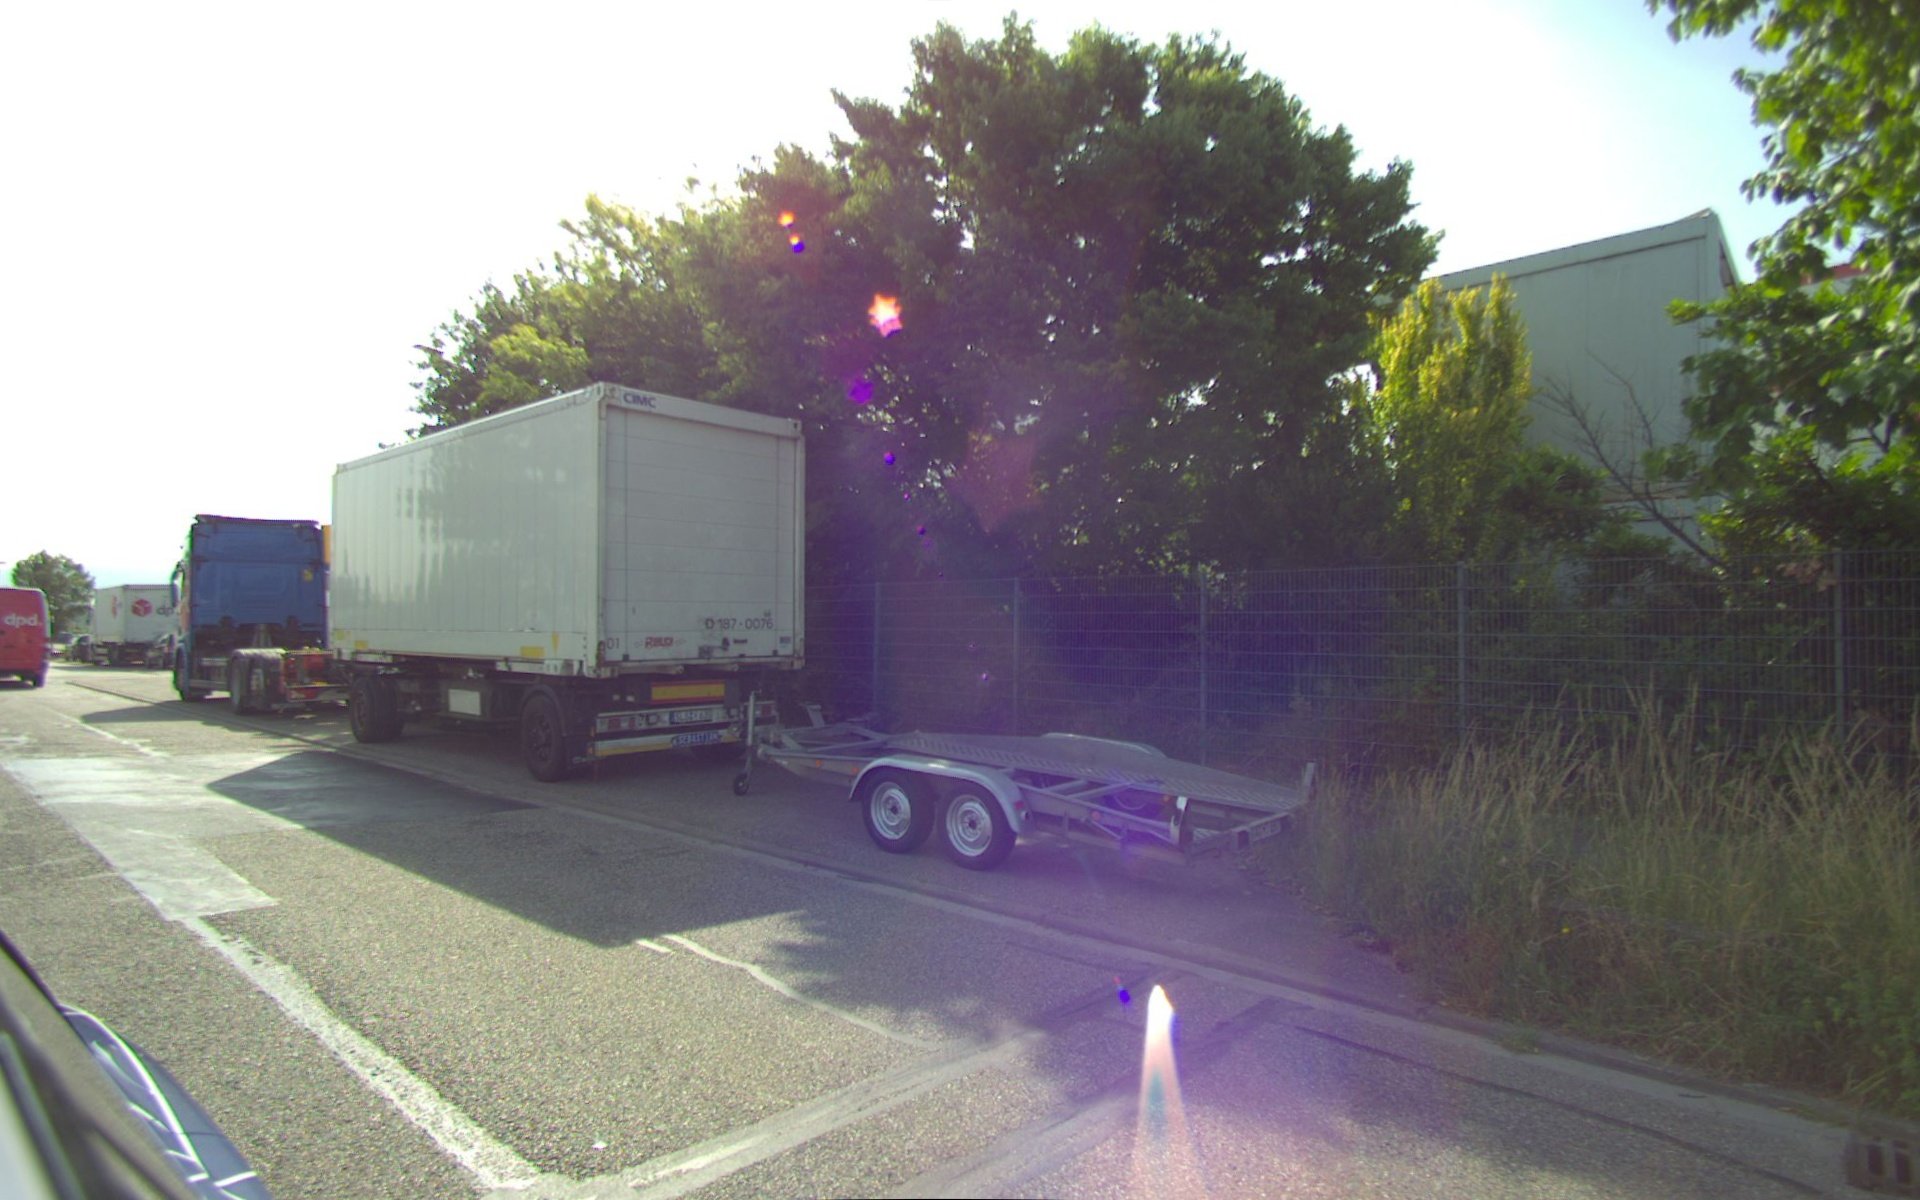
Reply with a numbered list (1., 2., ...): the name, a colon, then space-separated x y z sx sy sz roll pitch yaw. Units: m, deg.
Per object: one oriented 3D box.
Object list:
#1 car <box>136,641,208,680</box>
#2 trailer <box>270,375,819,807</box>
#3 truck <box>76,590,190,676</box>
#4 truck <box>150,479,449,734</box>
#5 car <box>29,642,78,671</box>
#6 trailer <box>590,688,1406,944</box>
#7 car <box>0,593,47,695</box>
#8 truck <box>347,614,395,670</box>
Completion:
1. car: -34.892 2.625 44.780 4.190 1.604 1.744 -2 -2 41
2. trailer: -6.087 0.024 13.396 9.760 3.914 2.671 -2 -2 41
3. truck: -41.405 1.679 50.528 10.059 3.883 2.747 -2 -4 42
4. truck: -13.279 0.213 19.833 9.636 3.914 2.683 -2 -2 43
5. car: -53.215 3.276 59.410 3.965 1.594 1.712 -2 -2 42
6. trailer: -0.121 1.331 8.046 6.240 0.993 2.621 -2 -4 41
7. car: -26.734 1.175 27.555 6.988 2.566 1.972 -2 -5 42
8. truck: -46.983 3.356 80.832 2.989 4.168 9.266 3 -4 -30
